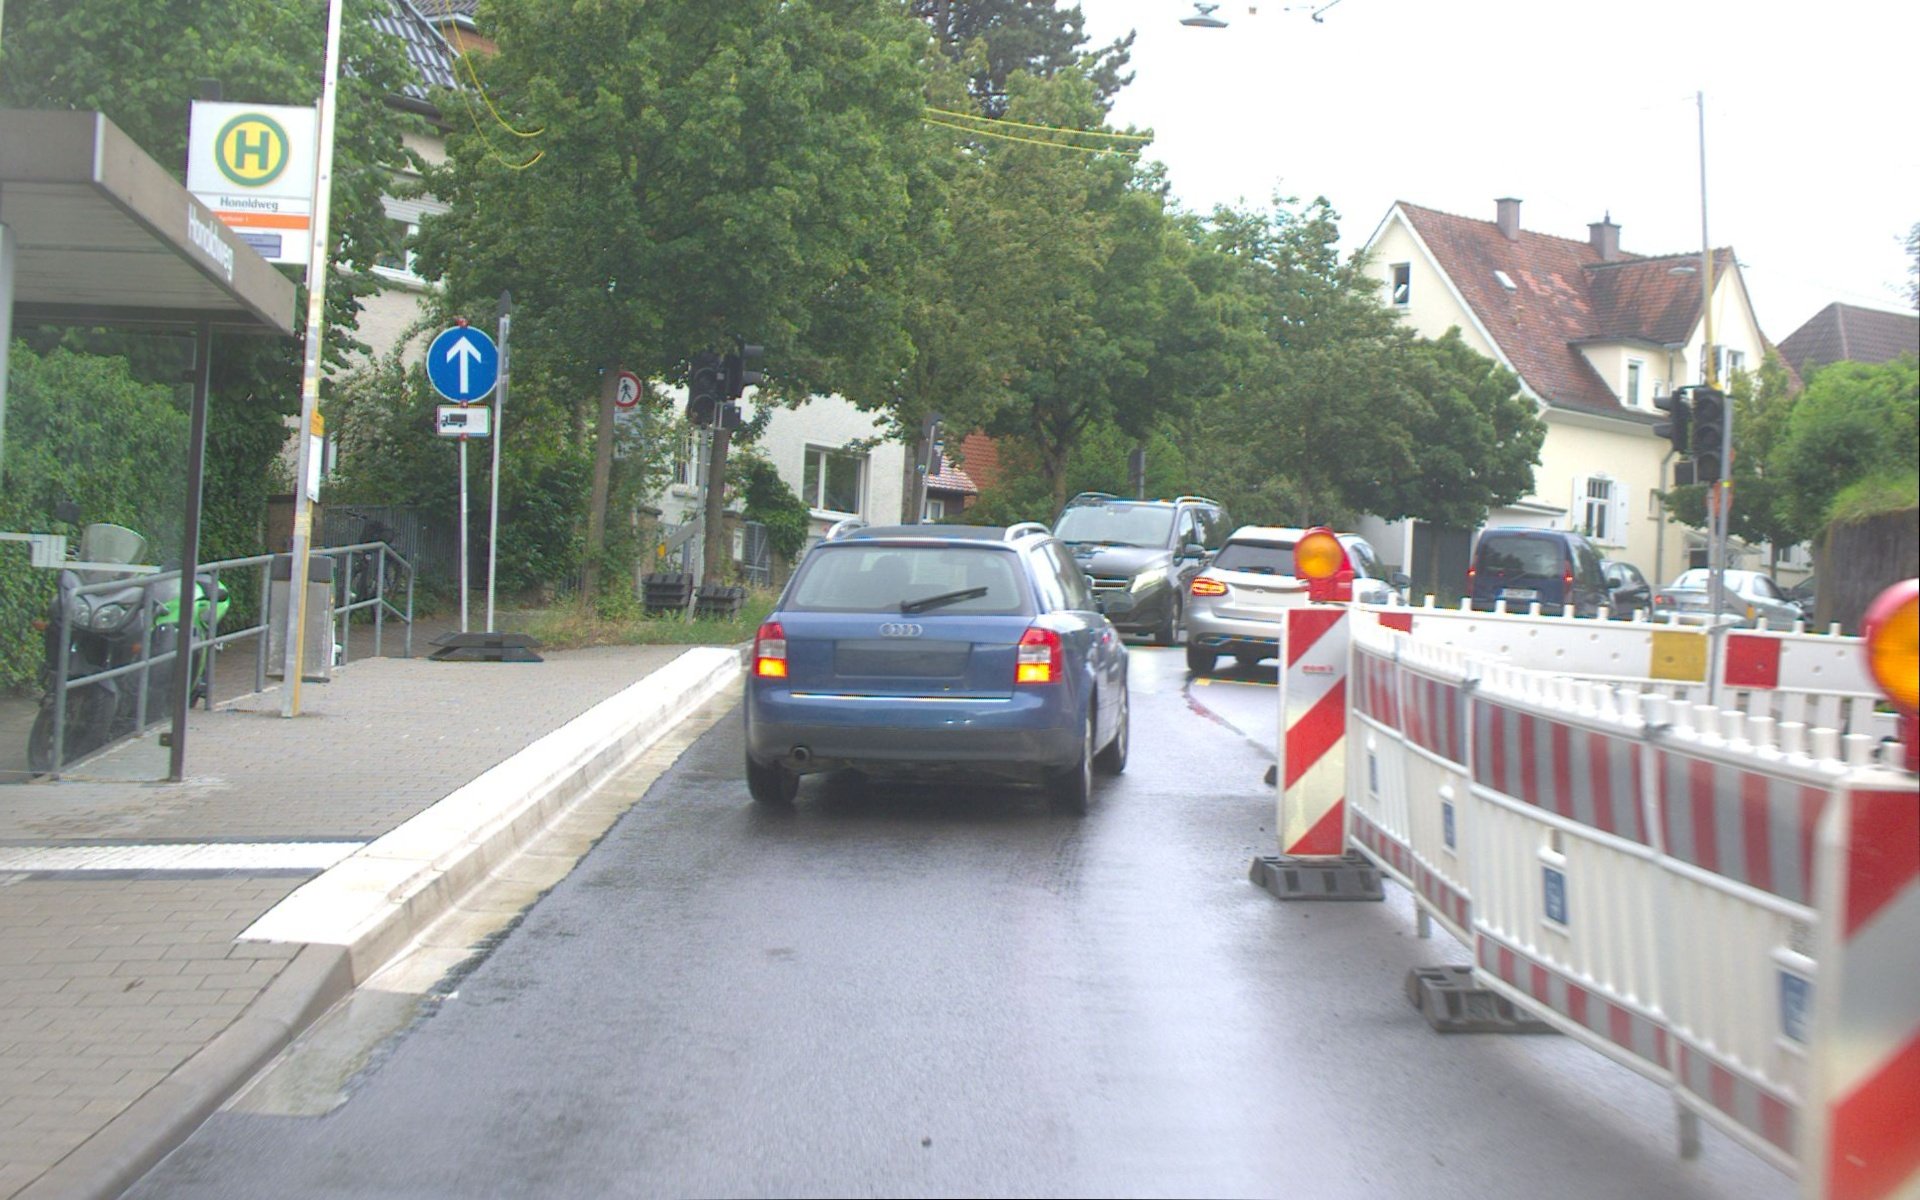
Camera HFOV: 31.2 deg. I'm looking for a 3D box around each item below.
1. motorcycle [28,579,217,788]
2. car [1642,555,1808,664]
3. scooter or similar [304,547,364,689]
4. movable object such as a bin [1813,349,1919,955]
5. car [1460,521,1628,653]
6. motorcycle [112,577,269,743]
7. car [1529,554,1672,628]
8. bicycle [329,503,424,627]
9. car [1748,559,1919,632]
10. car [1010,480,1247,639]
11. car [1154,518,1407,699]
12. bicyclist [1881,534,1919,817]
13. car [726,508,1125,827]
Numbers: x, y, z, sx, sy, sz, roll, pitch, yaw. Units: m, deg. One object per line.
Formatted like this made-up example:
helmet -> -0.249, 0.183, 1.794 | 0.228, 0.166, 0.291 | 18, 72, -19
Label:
motorcycle -> -4.633, 0.433, 19.150 | 0.666, 1.032, 2.153 | 1, 2, -4
car -> 13.495, 0.142, 60.494 | 1.736, 1.762, 4.228 | 3, 2, 28
scooter or similar -> -4.884, 0.127, 26.851 | 0.323, 1.077, 1.096 | 0, 1, -3
movable object such as a bin -> 5.557, 0.305, 14.981 | 2.086, 2.828, 5.677 | 2, 2, -1
car -> 8.569, -0.229, 50.211 | 1.735, 1.762, 4.231 | 1, 2, 19
motorcycle -> -4.809, 0.355, 21.583 | 0.666, 0.930, 2.011 | 1, 2, -4
car -> 13.443, -0.179, 71.976 | 1.673, 1.461, 3.888 | 1, 0, 31
bicycle -> -6.359, -0.399, 37.559 | 0.490, 1.267, 2.273 | 4, 2, 2
car -> 20.620, -0.097, 80.158 | 4.891, 1.540, 1.872 | 2, 1, -42
car -> 2.227, -0.498, 43.804 | 1.898, 1.883, 5.149 | 1, 0, 16
car -> 3.273, 0.025, 34.426 | 1.976, 1.629, 4.233 | 0, 2, 13
bicyclist -> 6.400, 0.481, 21.103 | 1.073, 1.722, 0.933 | 3, 1, -9
car -> -0.072, 0.264, 18.342 | 1.734, 1.461, 4.000 | 0, 2, 5
